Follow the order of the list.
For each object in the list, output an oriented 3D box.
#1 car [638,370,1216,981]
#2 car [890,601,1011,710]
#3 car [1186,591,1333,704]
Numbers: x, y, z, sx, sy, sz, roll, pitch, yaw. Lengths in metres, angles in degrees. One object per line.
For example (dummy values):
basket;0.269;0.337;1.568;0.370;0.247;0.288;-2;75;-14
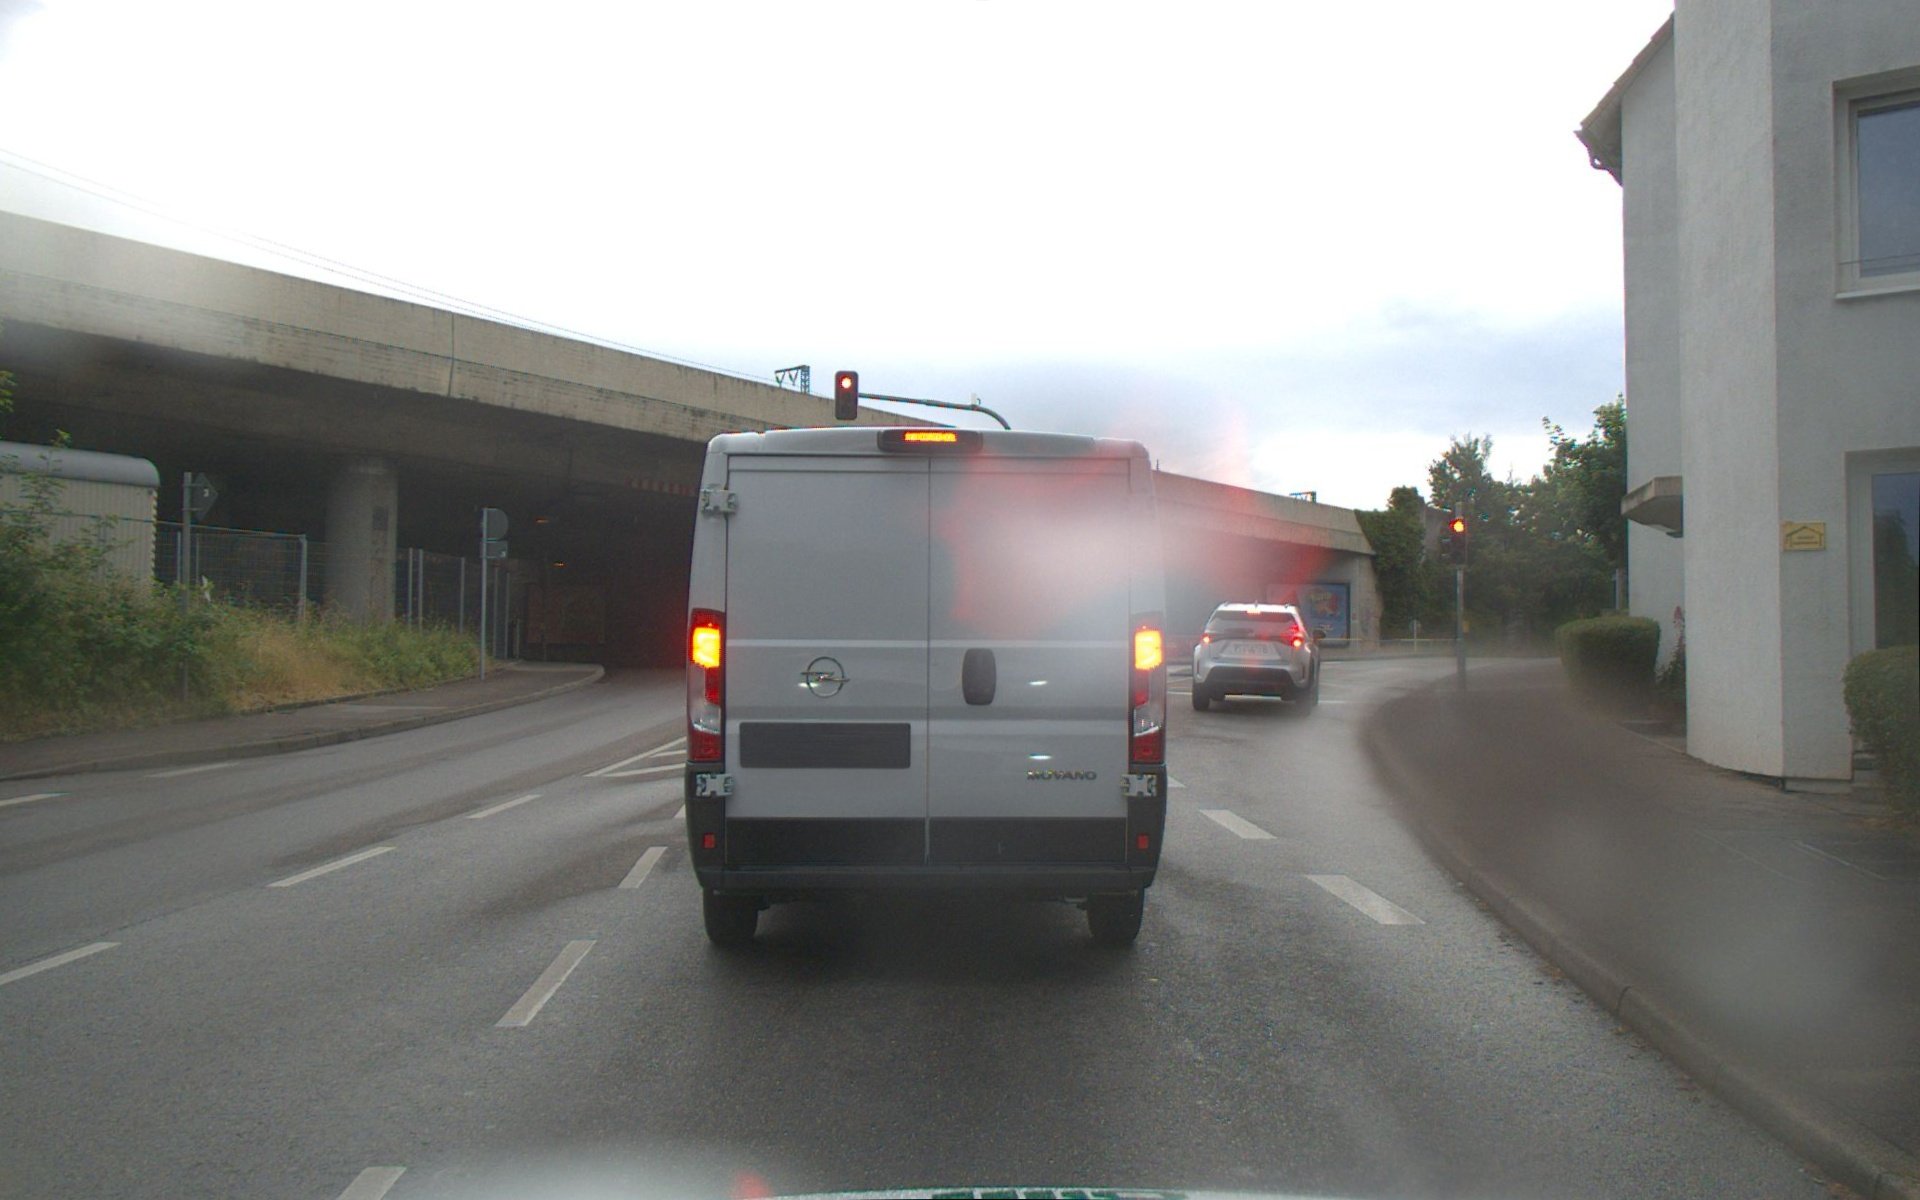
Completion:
car;-0.193;0.313;9.136;2.258;2.384;5.280;0;0;-2
car;-0.094;0.950;28.883;1.952;1.759;4.000;0;-2;2
car;4.656;0.711;25.296;1.951;1.576;4.003;0;-1;14
